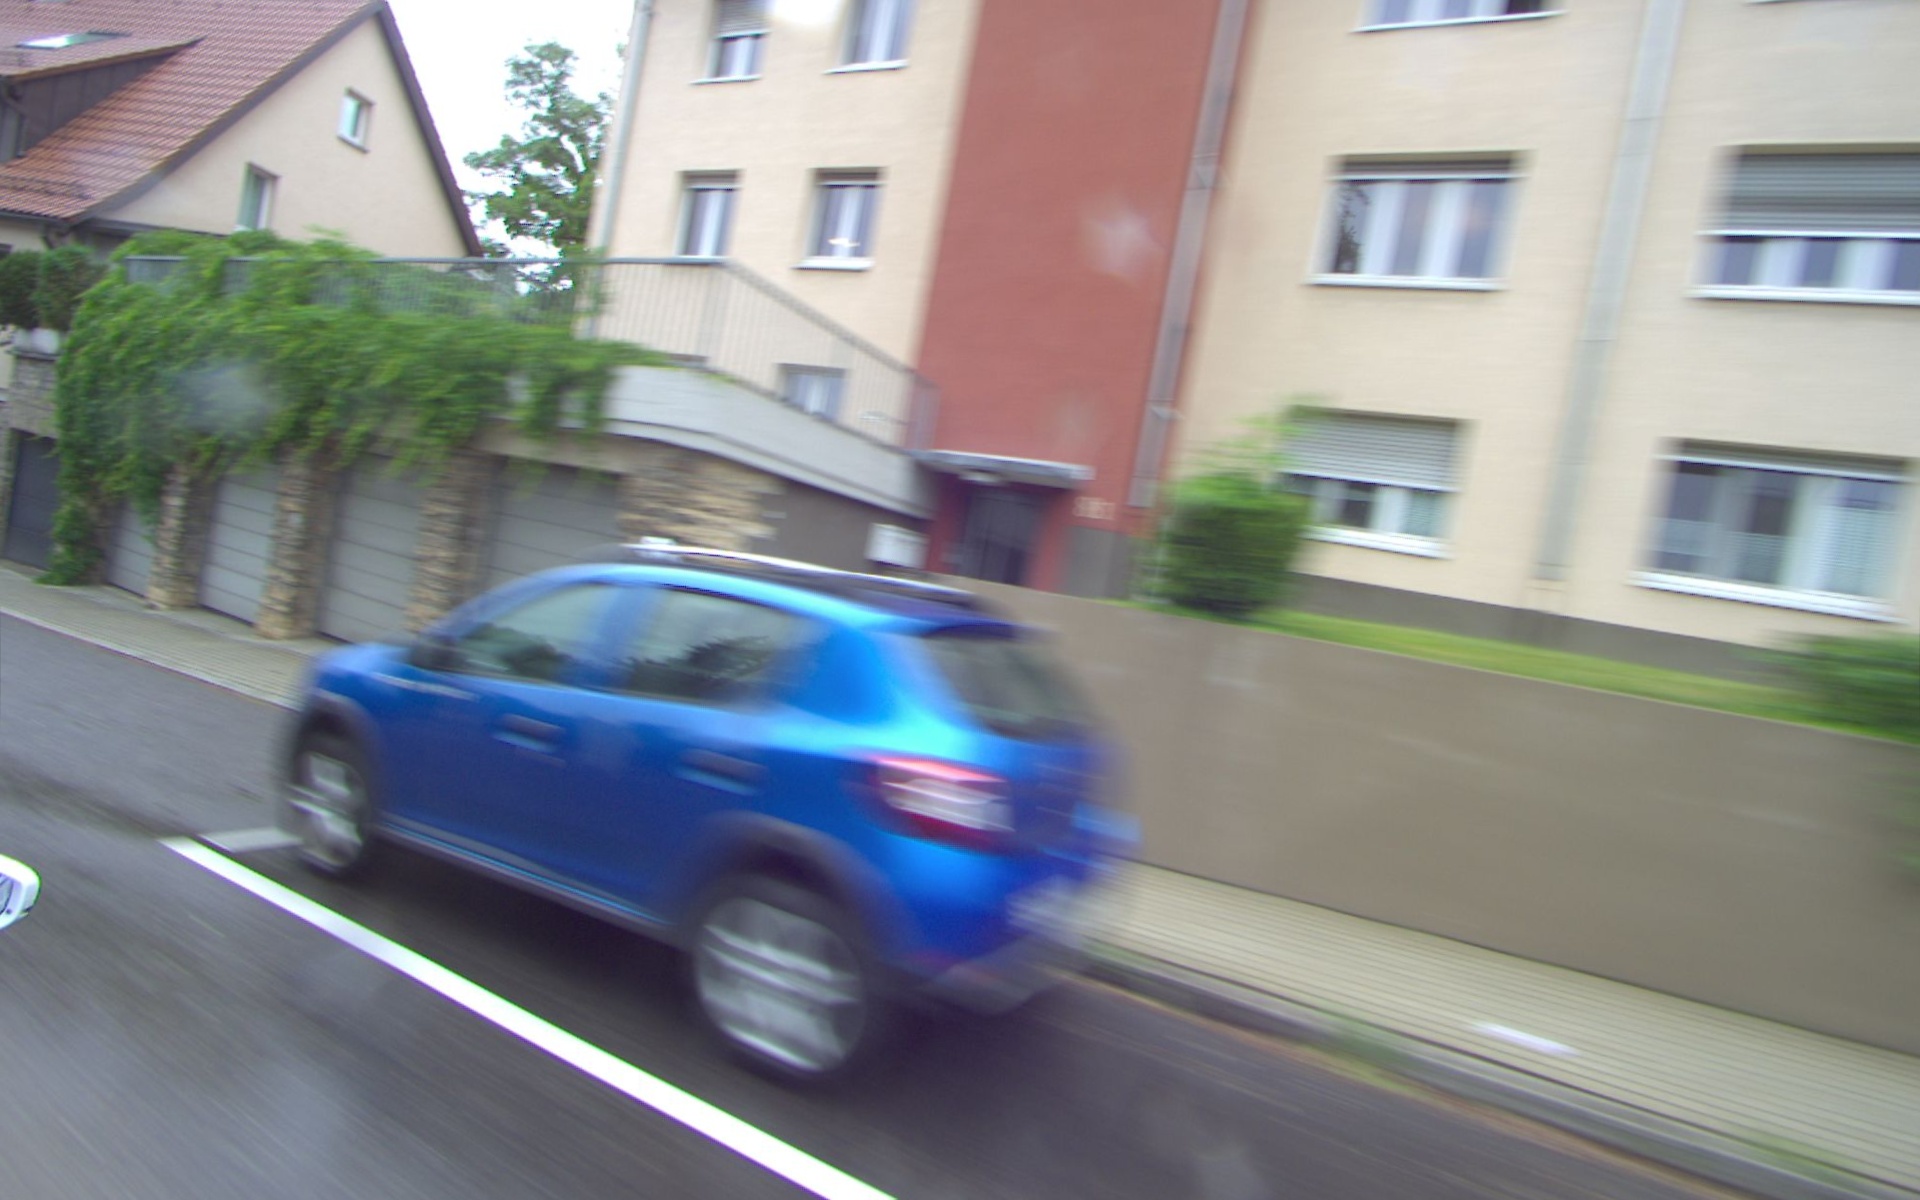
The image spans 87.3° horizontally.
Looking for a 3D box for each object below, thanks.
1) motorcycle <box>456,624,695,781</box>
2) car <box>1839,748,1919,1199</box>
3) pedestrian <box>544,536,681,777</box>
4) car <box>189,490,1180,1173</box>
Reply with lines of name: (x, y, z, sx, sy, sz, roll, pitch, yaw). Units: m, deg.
motorcycle: (-2.640, 0.691, 6.990, 1.355, 0.866, 0.537, 8, -1, 0)
car: (4.028, 1.339, 1.129, 4.179, 1.473, 1.693, 8, 0, 27)
pedestrian: (-2.602, 0.418, 7.591, 0.603, 1.670, 0.621, 8, -1, -1)
car: (-1.393, 0.583, 4.533, 4.181, 1.613, 1.736, 8, 0, 30)
